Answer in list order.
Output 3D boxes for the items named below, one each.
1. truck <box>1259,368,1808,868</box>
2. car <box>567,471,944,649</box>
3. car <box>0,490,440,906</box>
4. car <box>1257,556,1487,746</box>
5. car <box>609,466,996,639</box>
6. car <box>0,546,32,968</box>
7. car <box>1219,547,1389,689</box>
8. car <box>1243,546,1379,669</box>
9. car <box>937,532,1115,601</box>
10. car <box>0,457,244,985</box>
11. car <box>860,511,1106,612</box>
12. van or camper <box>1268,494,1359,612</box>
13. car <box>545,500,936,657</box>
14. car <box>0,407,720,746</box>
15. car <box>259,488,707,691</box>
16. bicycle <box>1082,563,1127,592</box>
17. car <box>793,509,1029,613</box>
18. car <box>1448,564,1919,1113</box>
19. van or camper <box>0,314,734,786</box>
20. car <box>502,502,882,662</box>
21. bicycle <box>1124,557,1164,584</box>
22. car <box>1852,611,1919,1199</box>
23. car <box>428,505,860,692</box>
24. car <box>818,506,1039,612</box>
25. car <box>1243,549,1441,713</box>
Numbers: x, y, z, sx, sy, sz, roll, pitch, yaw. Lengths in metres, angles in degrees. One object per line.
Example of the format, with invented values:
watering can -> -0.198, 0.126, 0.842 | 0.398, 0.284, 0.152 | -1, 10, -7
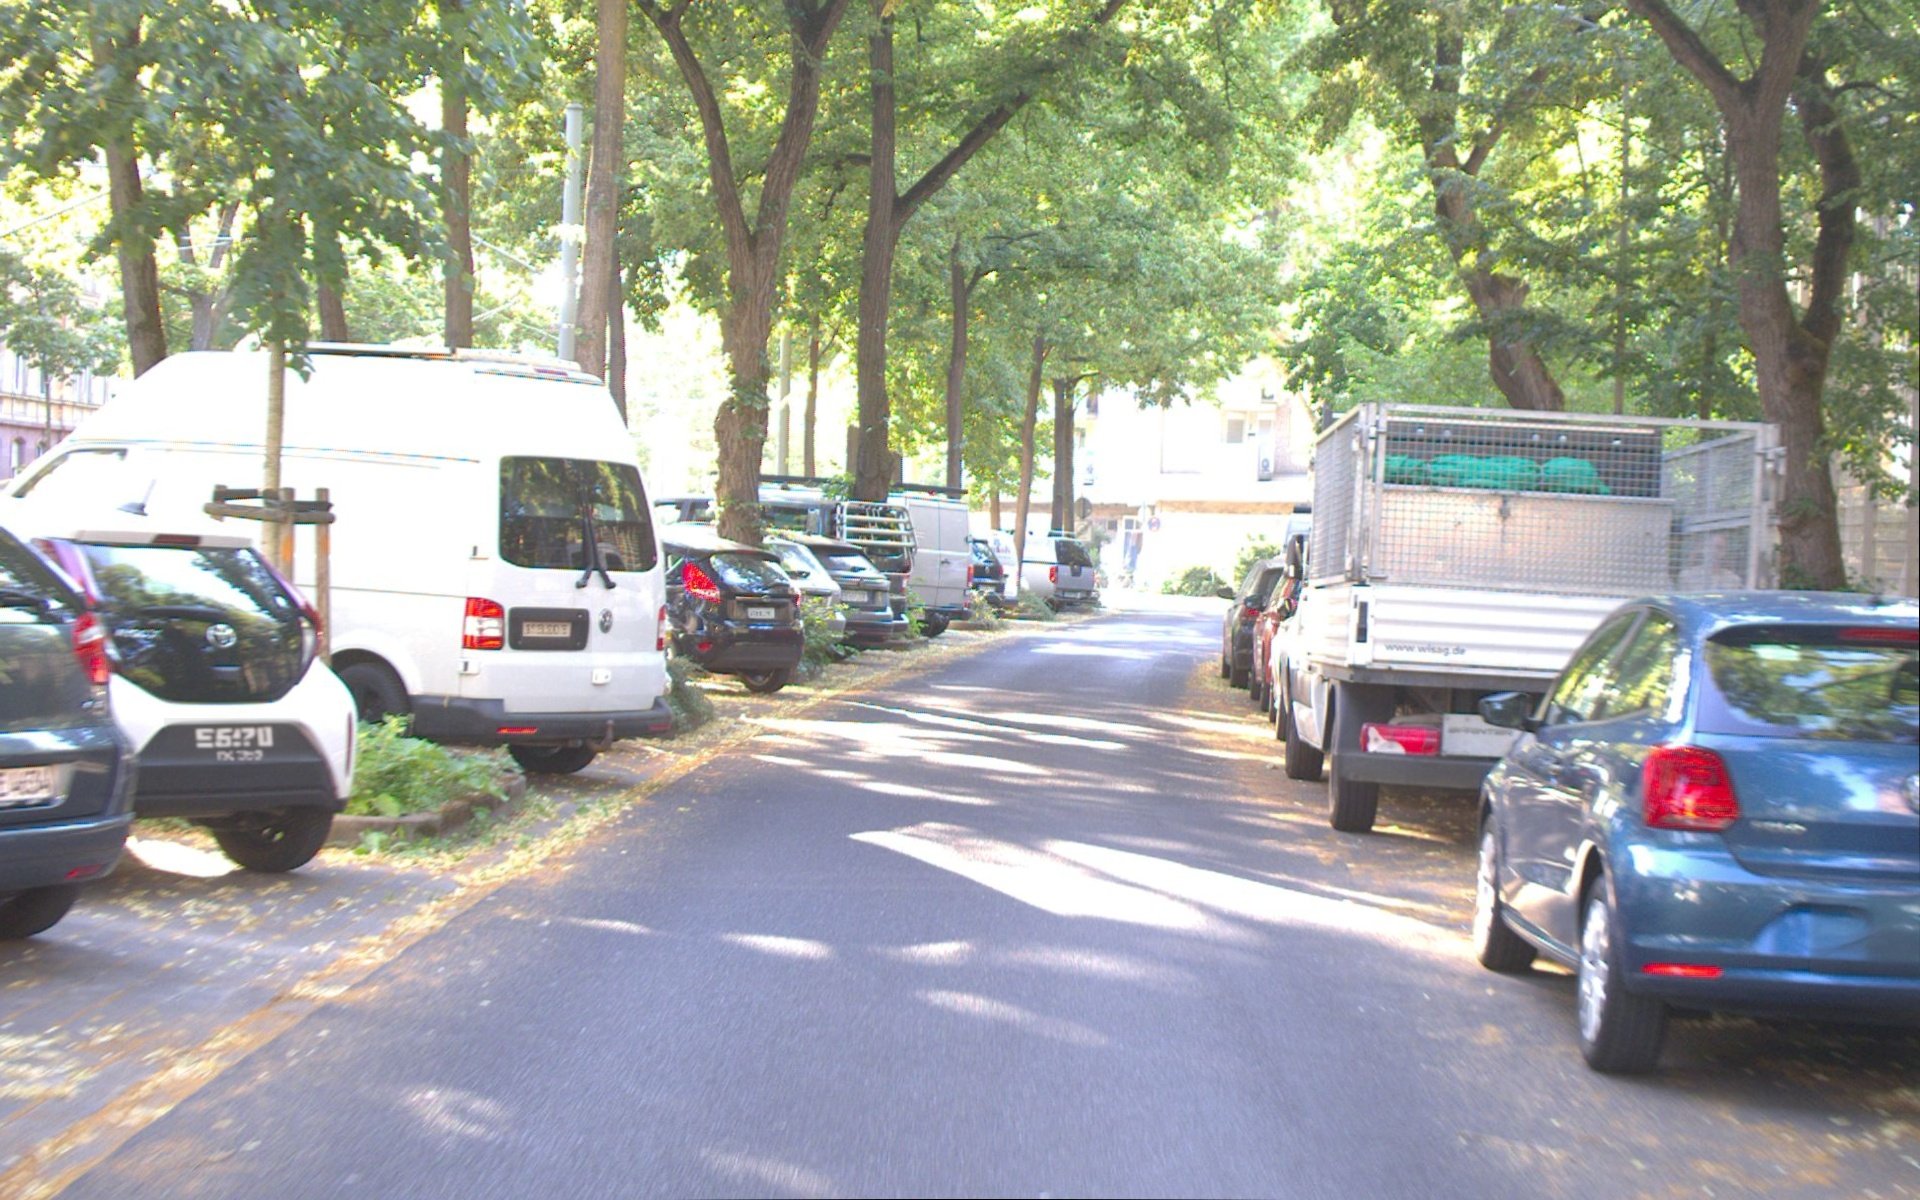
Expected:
truck -> 3.121, 0.033, 20.388 | 2.296, 2.378, 6.934 | 2, 1, 2
car -> -2.718, -0.539, 45.080 | 4.709, 1.936, 1.930 | 5, 1, 38
car -> -4.193, 0.283, 14.518 | 3.546, 1.488, 1.822 | 5, 1, 34
car -> 3.351, 0.364, 28.609 | 1.672, 1.393, 4.298 | 2, 1, 4
car -> -2.393, -0.729, 51.420 | 5.508, 2.129, 2.077 | 5, 1, 35
car -> -4.671, 0.396, 8.874 | 4.238, 1.436, 1.854 | 5, 1, 30
car -> 3.790, 0.160, 38.373 | 1.672, 1.449, 3.949 | 2, 1, 3
car -> 4.440, 0.064, 43.894 | 1.591, 1.449, 3.554 | 2, 1, 4
car -> 1.719, -0.874, 90.086 | 4.194, 1.434, 1.829 | 5, 1, 30
car -> -4.709, 0.224, 11.777 | 4.034, 1.656, 1.854 | 5, 1, 27
car -> 0.475, -0.850, 75.380 | 4.996, 1.775, 1.984 | 5, 1, 33
van or camper -> 8.753, -1.156, 85.115 | 2.084, 2.753, 5.844 | 2, 1, 6
car -> -2.739, -0.280, 42.314 | 4.567, 1.535, 1.930 | 6, 1, 38
car -> -4.319, -0.194, 24.228 | 4.880, 1.971, 2.041 | 5, 1, 33
car -> -4.269, -0.101, 30.652 | 3.546, 1.488, 1.822 | 5, 1, 34
bicycle -> 5.232, -0.817, 124.699 | 0.638, 1.019, 2.088 | 1, 1, -28
car -> -0.964, -0.754, 66.257 | 4.156, 1.638, 1.911 | 5, 1, 37
car -> 2.704, 0.648, 11.365 | 1.672, 1.453, 3.893 | 2, 1, 1
van or camper -> -4.045, -0.363, 20.899 | 4.880, 2.462, 2.041 | 5, 1, 31
car -> -3.110, -0.220, 39.611 | 4.089, 1.483, 1.780 | 5, 1, 36
bicycle -> 6.560, -1.057, 122.758 | 0.542, 0.901, 1.736 | 1, 1, -29
car -> 2.889, 0.815, 5.811 | 1.672, 1.453, 3.894 | 2, 1, -1
car -> -3.052, -0.027, 32.848 | 3.821, 1.434, 1.821 | 6, 1, 39
car -> -0.657, -0.833, 69.464 | 4.158, 1.775, 1.879 | 6, 1, 41
car -> 3.680, 0.252, 33.641 | 1.672, 1.449, 3.949 | 2, 1, 3
